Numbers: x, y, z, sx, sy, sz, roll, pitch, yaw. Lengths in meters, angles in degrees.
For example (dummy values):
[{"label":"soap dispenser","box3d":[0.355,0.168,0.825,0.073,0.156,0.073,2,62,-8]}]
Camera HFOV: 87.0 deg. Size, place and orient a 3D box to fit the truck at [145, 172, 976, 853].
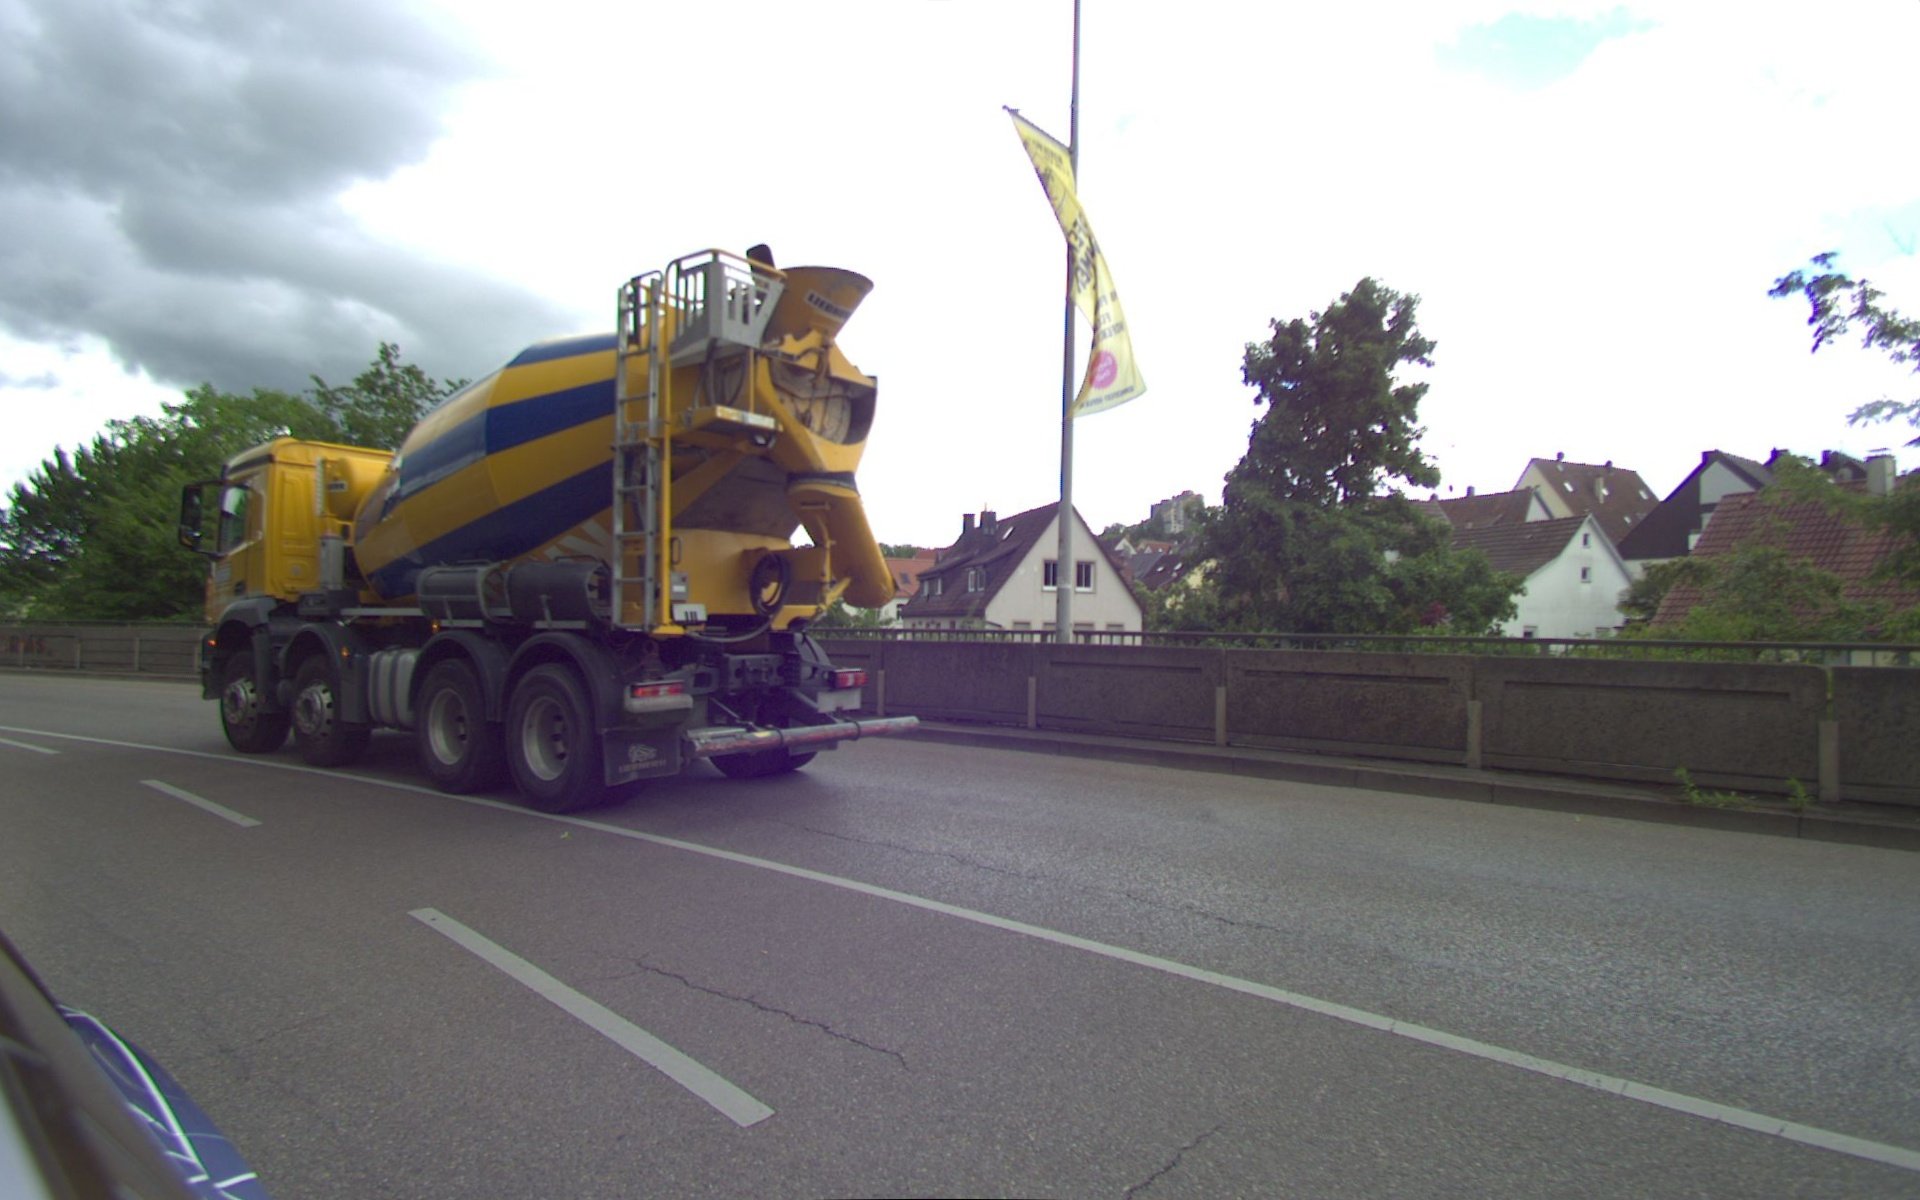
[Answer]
[{"label":"truck","box3d":[-4.705,-0.438,9.947,10.091,3.969,2.631,-1,-1,36]}]
